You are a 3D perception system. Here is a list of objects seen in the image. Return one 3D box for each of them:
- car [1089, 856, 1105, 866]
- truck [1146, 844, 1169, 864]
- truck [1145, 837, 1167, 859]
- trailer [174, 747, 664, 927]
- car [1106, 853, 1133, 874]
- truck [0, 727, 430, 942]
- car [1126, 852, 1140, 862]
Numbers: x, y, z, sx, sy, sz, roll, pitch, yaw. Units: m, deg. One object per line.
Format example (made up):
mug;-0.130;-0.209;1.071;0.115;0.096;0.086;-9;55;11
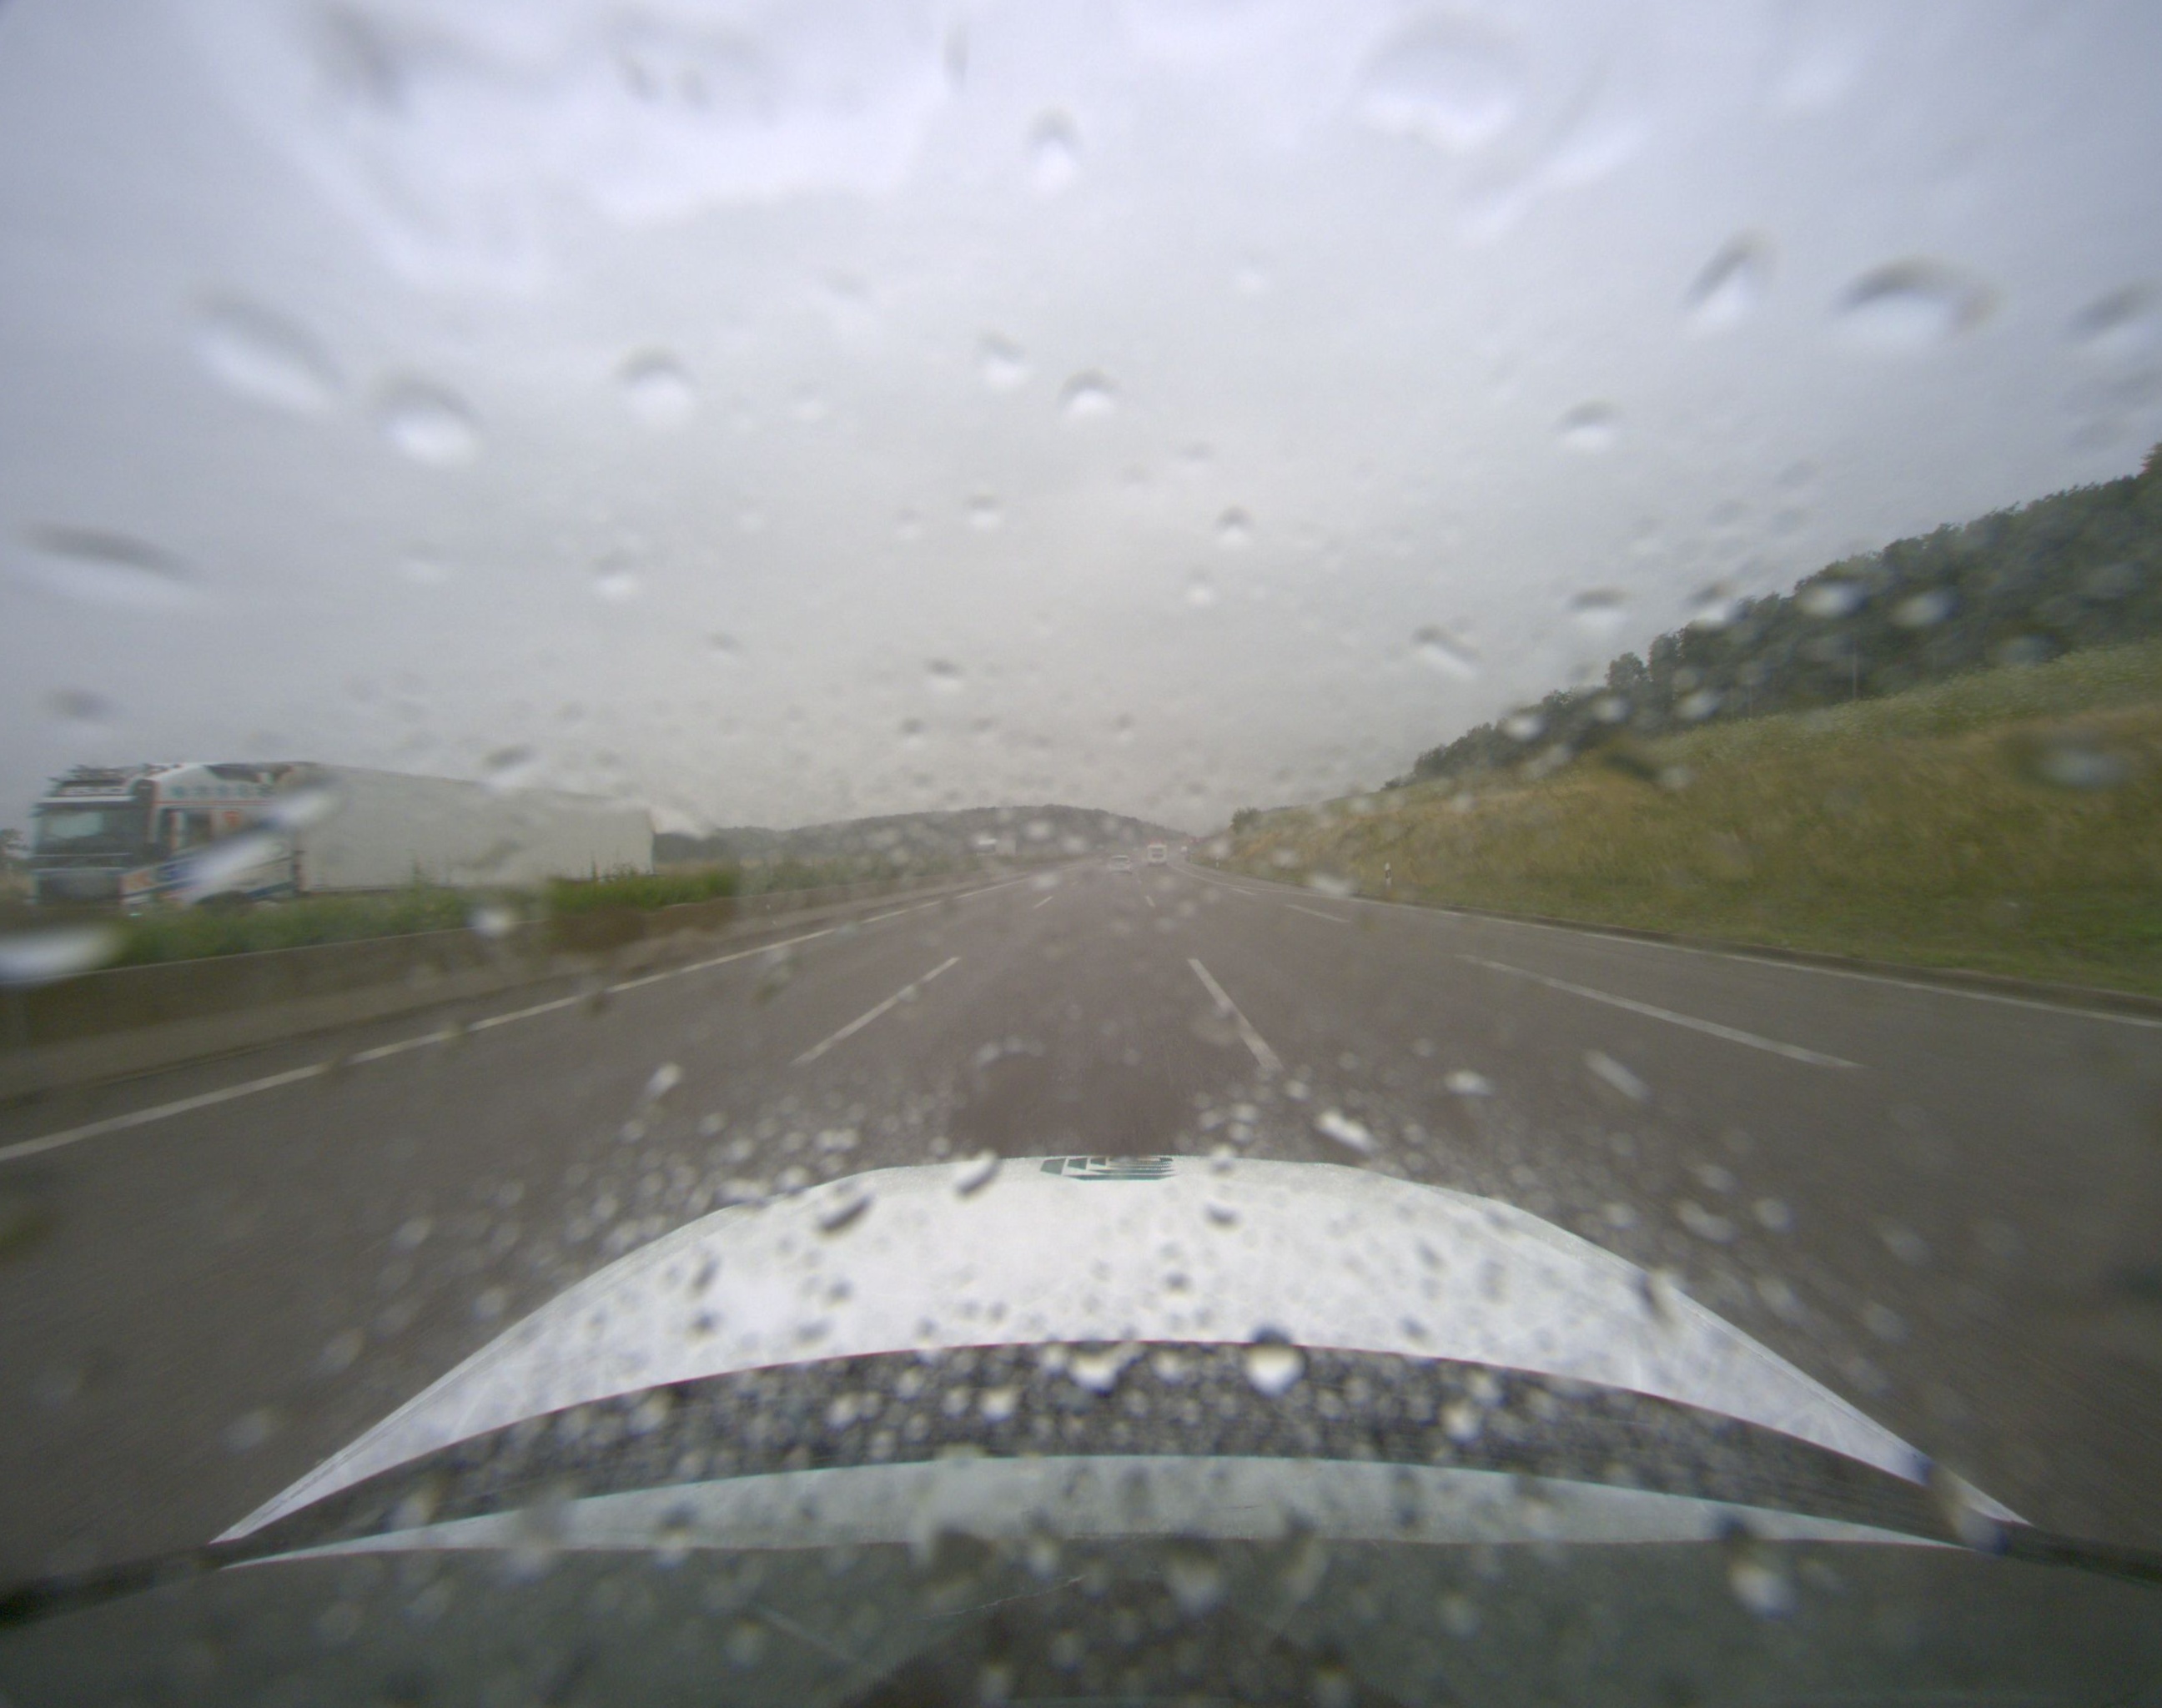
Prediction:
car;2.005;0.907;103.009;1.818;1.156;4.211;-1;-1;0
truck;9.038;0.005;96.613;2.399;2.252;4.695;-1;0;2
truck;13.249;-1.123;144.659;3.511;3.742;11.439;-1;1;4
trailer;-18.489;-0.373;25.356;2.932;3.982;14.315;-1;0;3
car;2.763;0.698;59.217;1.861;1.463;4.000;-1;-1;1
truck;-18.864;-0.365;18.469;2.941;3.994;6.221;-1;0;3
car;8.451;0.530;132.269;1.987;1.618;3.999;-1;0;0
